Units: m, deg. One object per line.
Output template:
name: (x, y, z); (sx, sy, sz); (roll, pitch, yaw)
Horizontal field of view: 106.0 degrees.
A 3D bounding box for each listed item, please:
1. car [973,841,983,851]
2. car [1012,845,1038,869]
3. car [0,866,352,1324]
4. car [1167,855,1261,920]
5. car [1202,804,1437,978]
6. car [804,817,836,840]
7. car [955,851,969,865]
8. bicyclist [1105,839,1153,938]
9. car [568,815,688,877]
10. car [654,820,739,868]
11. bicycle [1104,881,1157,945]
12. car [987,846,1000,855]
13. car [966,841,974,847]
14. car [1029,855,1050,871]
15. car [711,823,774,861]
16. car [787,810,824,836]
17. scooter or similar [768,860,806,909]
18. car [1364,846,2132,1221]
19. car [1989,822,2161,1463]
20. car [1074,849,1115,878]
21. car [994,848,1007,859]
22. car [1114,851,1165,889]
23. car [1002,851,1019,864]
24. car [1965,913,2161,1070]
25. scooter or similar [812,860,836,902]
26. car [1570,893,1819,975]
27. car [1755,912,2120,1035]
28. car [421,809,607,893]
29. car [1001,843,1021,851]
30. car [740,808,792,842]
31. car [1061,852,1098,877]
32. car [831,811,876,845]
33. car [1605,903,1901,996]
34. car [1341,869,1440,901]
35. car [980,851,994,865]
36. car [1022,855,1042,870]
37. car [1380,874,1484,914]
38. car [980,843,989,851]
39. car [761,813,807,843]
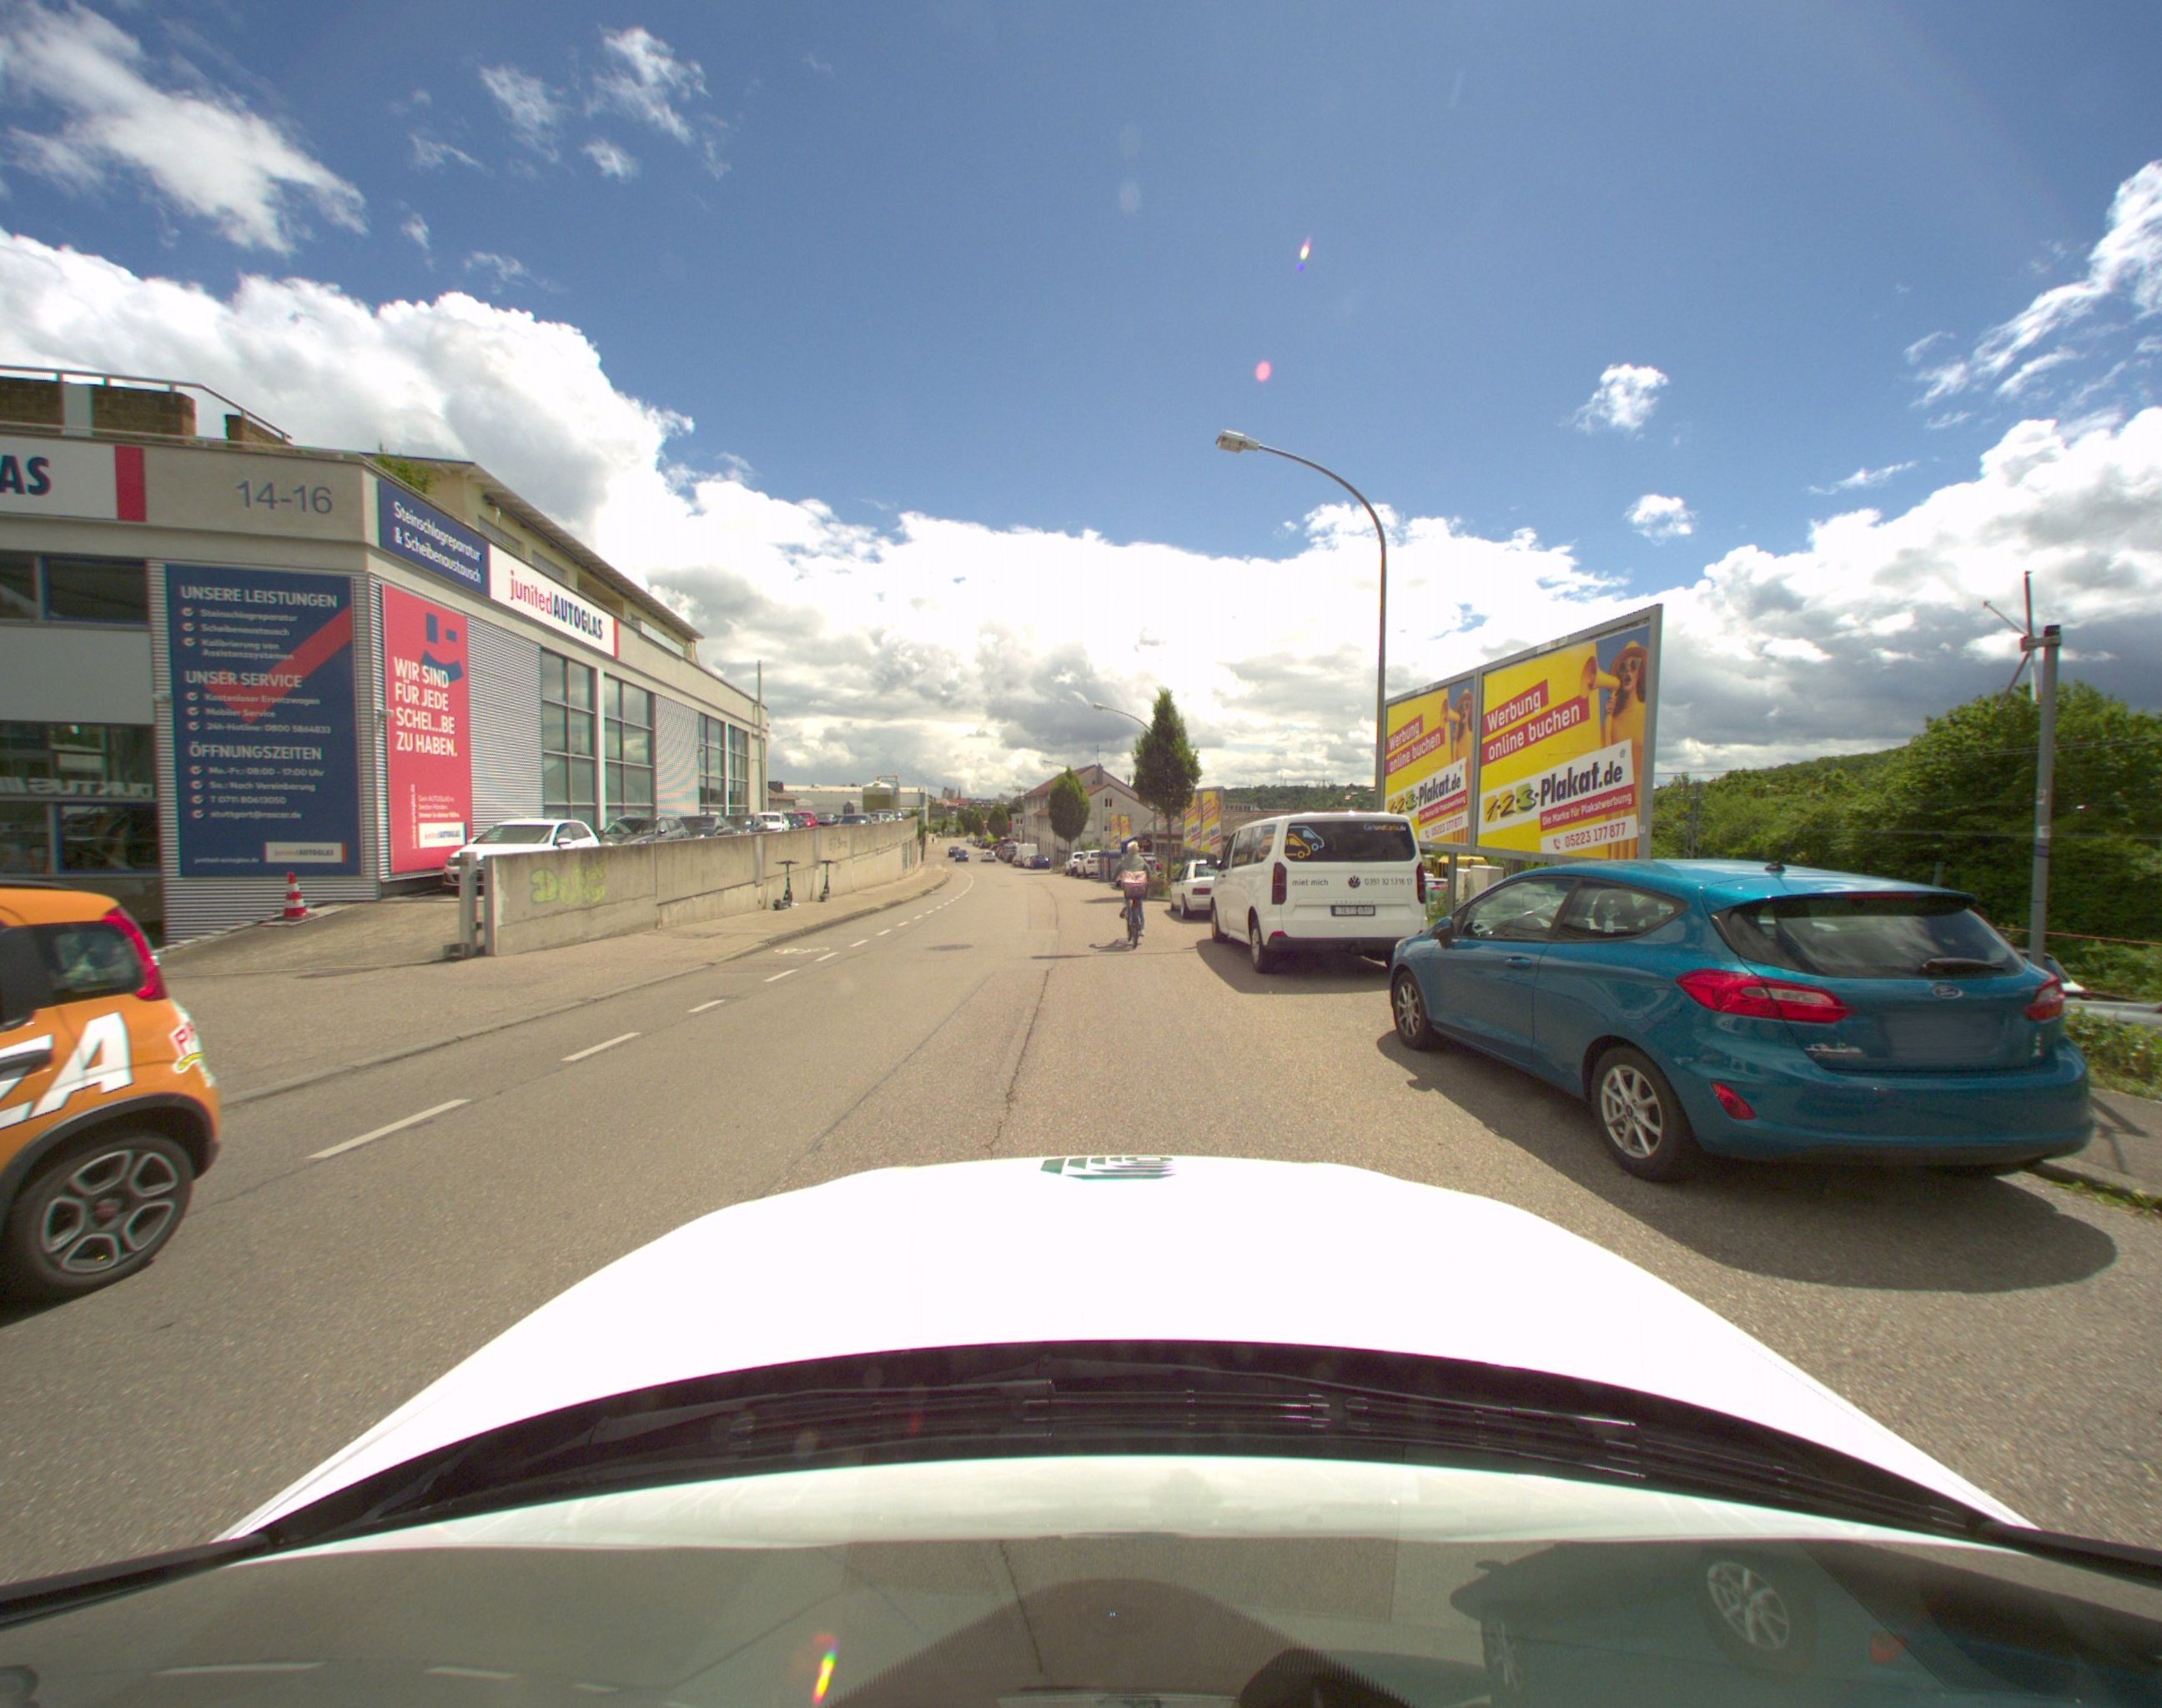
car: (-22.947, -1.819, 182.021); (1.870, 1.990, 5.125); (0, 1, -11)
car: (-6.397, 0.359, 91.950); (2.034, 2.641, 7.253); (0, 0, -12)
car: (-4.350, 0.802, 2.117); (1.596, 1.490, 3.681); (0, 0, 0)
car: (3.099, 0.734, 19.716); (1.632, 1.387, 4.204); (0, 0, 0)
car: (3.149, 0.421, 12.123); (1.968, 2.004, 5.547); (0, 0, 1)
car: (-20.265, -1.925, 63.328); (1.806, 1.636, 4.098); (0, 0, -10)
car: (-16.014, 0.539, 109.639); (1.628, 1.817, 3.764); (-1, 0, -12)
bicyclist: (0.809, 0.573, 13.859); (0.738, 1.626, 0.731); (0, -1, -3)
car: (-12.997, -0.196, 23.649); (1.806, 1.636, 4.098); (0, 0, -10)
car: (-14.063, -0.346, 30.031); (1.806, 1.636, 4.098); (0, 0, -10)
bicycle: (0.812, 0.969, 13.865); (0.738, 0.975, 1.731); (0, -1, -2)
car: (-15.132, -0.653, 141.260); (1.792, 1.465, 4.689); (0, 1, -12)
car: (-30.812, -2.782, 225.274); (1.704, 1.527, 3.720); (3, 1, -14)
car: (-4.199, 0.886, 81.119); (1.567, 1.510, 4.079); (0, 0, -11)
car: (-15.199, -0.490, 36.799); (1.806, 1.636, 4.098); (0, 0, -10)
car: (-18.928, -2.104, 56.111); (1.806, 1.636, 4.098); (0, 0, -10)
scooter or similar: (-7.833, 0.794, 21.753); (0.556, 1.276, 1.304); (0, 0, -2)
car: (3.303, 0.690, 5.162); (1.588, 1.450, 3.977); (0, 0, -1)
car: (3.250, 0.669, 0.486); (1.587, 1.481, 3.501); (0, 0, 1)
car: (0.750, 0.575, 49.263); (1.685, 1.659, 4.465); (-1, 0, -10)
car: (-12.440, -0.107, 125.476); (1.735, 1.472, 4.247); (0, 2, -10)
car: (2.417, 0.645, 34.663); (1.651, 1.485, 4.040); (-2, 0, -3)
car: (-9.344, 0.469, 107.947); (1.705, 1.509, 5.068); (2, 2, -11)
car: (11.835, 1.458, 7.865); (1.808, 1.441, 4.559); (-1, 0, 3)
scooter or similar: (-8.042, 0.821, 25.534); (0.519, 1.276, 1.378); (2, -1, -12)
car: (13.234, 1.691, 17.803); (3.964, 1.598, 1.797); (-1, 0, 9)
car: (12.215, 1.624, 12.015); (1.565, 1.260, 3.713); (-1, 0, 2)
car: (-12.246, -0.045, 17.965); (1.806, 1.636, 4.098); (0, 0, -10)
car: (-13.943, -1.410, 162.105); (4.023, 1.462, 1.736); (-1, 3, 41)
car: (-16.485, -1.486, 42.788); (1.806, 1.636, 4.098); (0, 0, -10)
car: (-0.131, 0.675, 55.197); (1.841, 1.565, 4.453); (-2, 0, -8)
car: (-11.944, -1.337, 42.944); (1.805, 1.636, 4.091); (0, 0, -9)
car: (12.380, 1.723, 15.293); (3.958, 1.490, 1.652); (-1, 0, 14)
car: (15.705, 1.581, 41.573); (4.421, 1.554, 2.005); (-1, 0, 8)
car: (-12.527, 0.493, 108.590); (1.567, 1.786, 3.592); (0, 0, -11)
car: (-5.231, 0.863, 86.021); (1.594, 1.510, 3.775); (0, 0, -12)
car: (14.843, 1.651, 34.482); (3.950, 1.540, 1.798); (-1, 0, 25)
car: (-19.818, -1.400, 167.413); (1.679, 1.638, 4.110); (0, 1, -9)
car: (-17.330, -1.487, 47.684); (1.806, 1.636, 4.098); (0, 0, -10)
